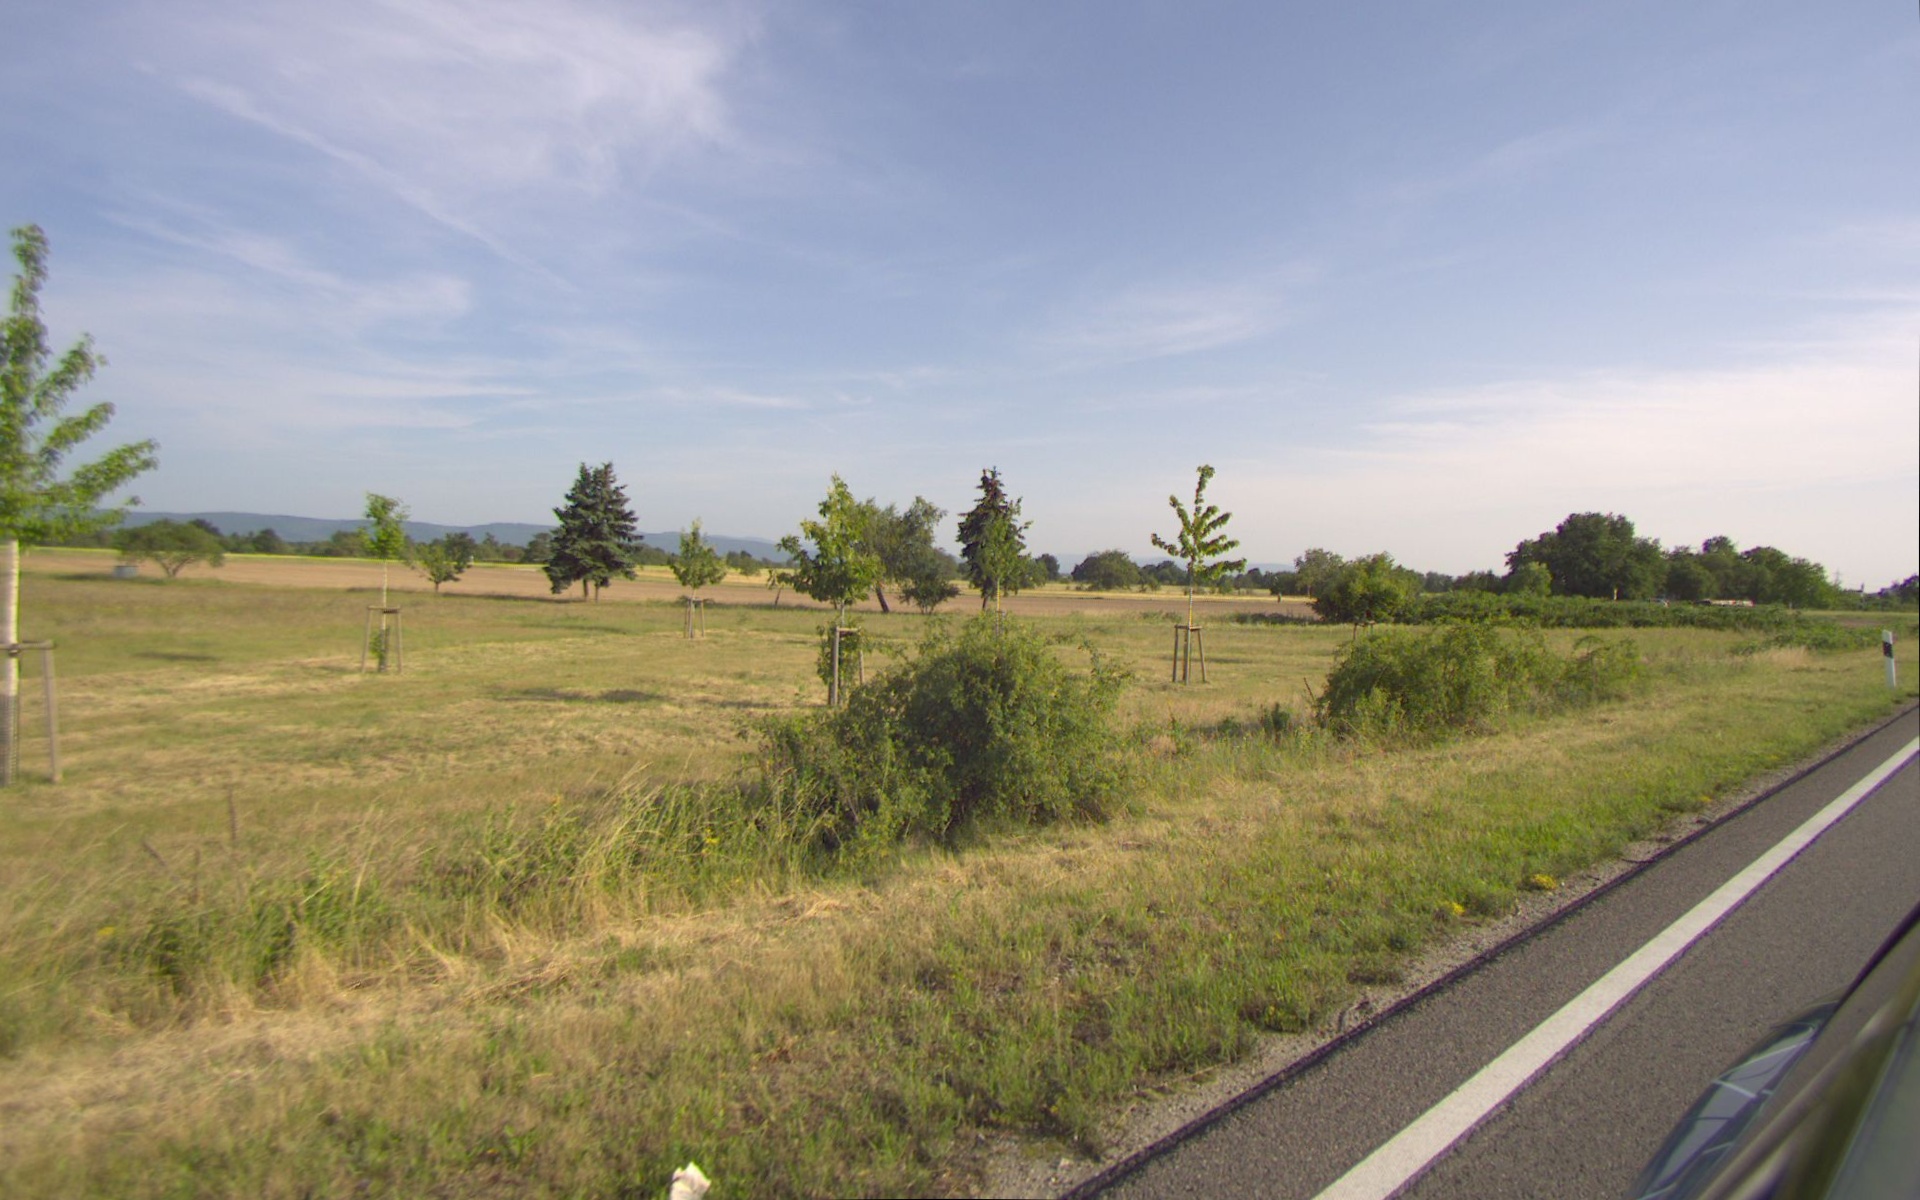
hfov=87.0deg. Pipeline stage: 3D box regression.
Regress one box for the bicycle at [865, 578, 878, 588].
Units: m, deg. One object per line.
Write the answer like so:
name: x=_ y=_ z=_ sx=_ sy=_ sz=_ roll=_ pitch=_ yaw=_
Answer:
bicycle: x=-13.830 y=-2.597 z=157.753 sx=1.941 sy=1.550 sz=0.503 roll=0 pitch=0 yaw=3

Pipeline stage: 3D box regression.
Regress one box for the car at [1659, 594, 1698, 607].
car: x=91.870 y=0.017 z=129.455 sx=3.973 sy=1.672 sz=1.975 roll=0 pitch=0 yaw=34
